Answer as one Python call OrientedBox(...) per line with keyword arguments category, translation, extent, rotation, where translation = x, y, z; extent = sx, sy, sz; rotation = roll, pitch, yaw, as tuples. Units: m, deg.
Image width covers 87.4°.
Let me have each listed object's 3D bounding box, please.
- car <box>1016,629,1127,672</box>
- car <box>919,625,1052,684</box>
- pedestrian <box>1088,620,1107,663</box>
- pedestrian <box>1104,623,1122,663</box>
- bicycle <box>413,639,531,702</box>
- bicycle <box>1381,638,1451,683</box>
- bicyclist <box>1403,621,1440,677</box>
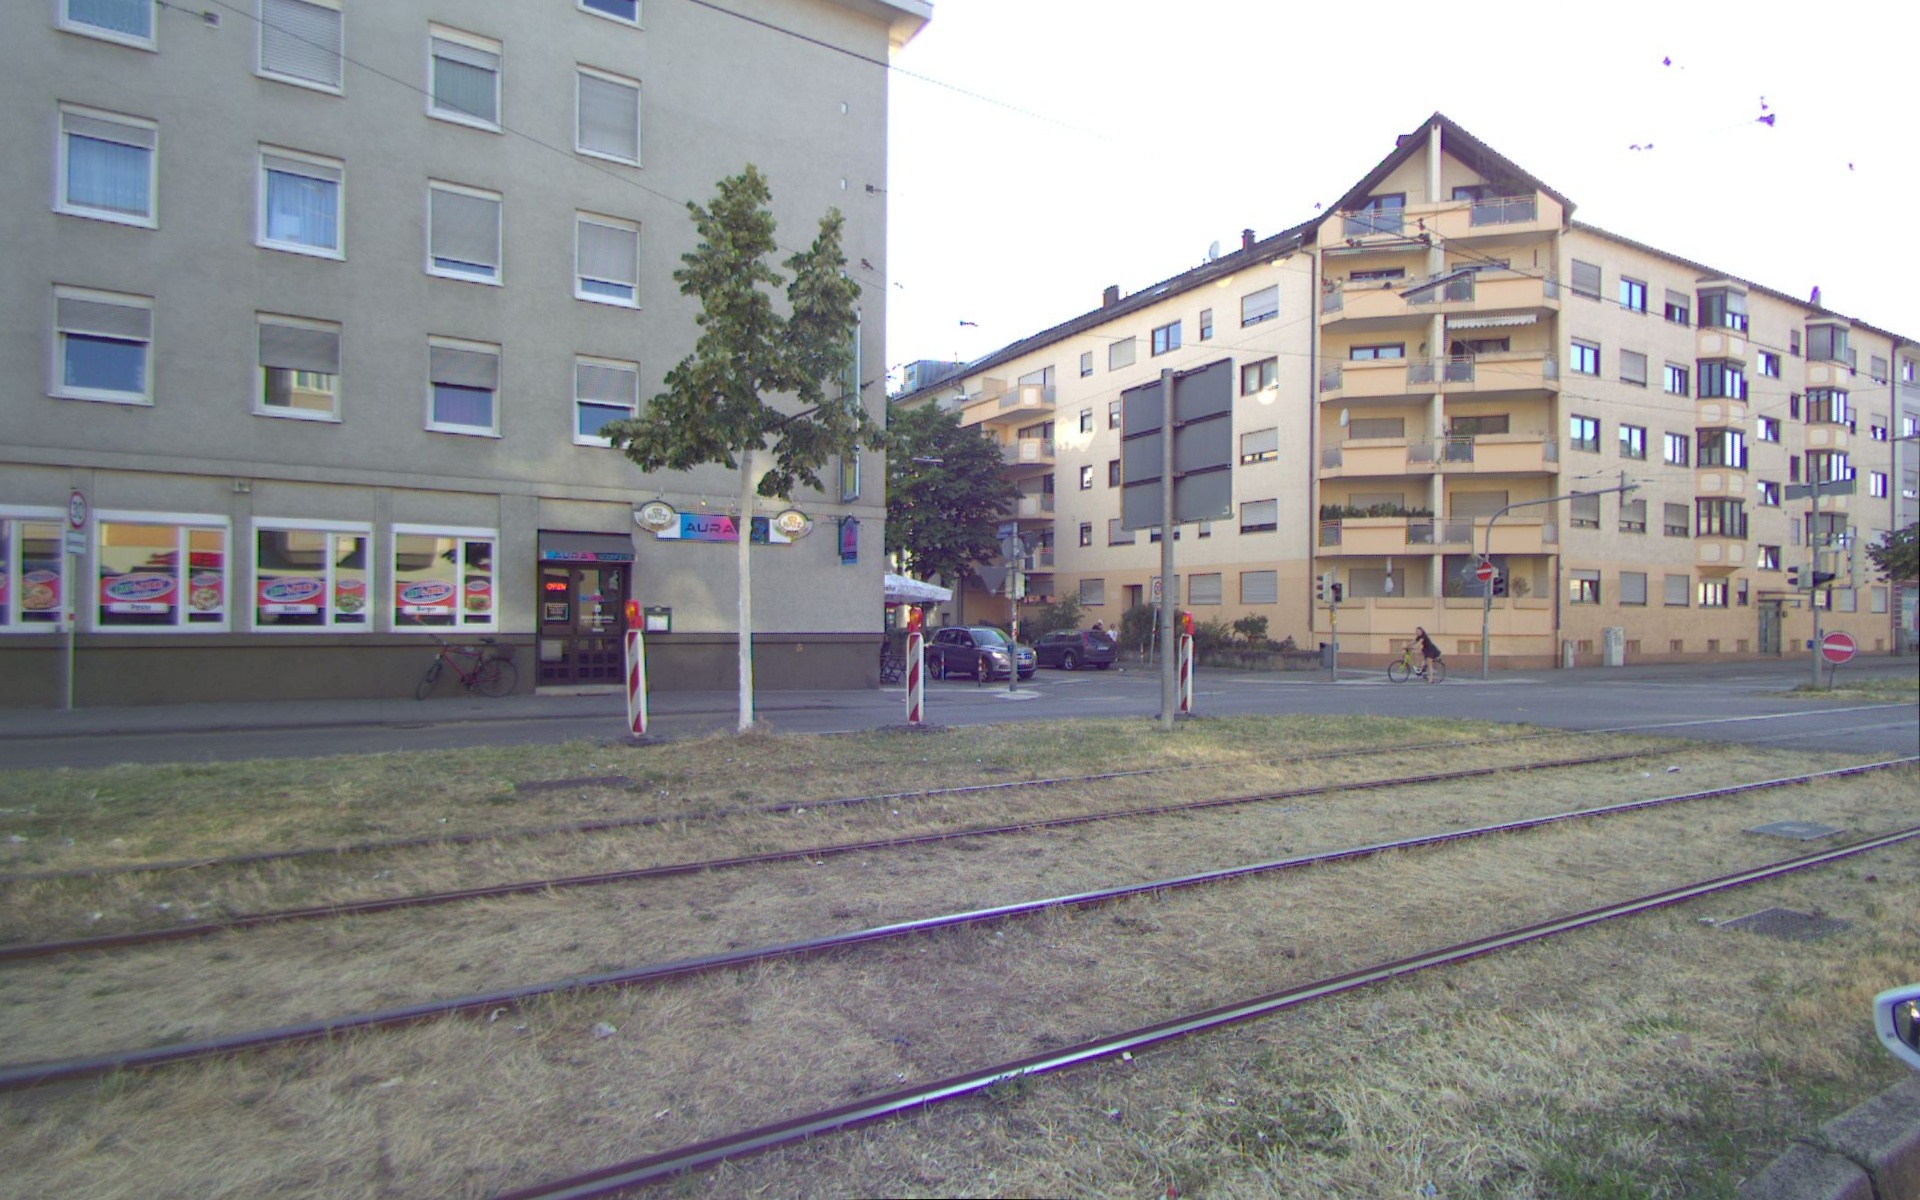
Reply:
OrientedBox(category="car", translation=(4.128, 1.836, 37.687), extent=(1.982, 1.461, 3.957), rotation=(0, -1, -38))
OrientedBox(category="car", translation=(0.719, 1.630, 31.413), extent=(1.982, 1.645, 4.153), rotation=(-1, 0, -38))
OrientedBox(category="pedestrian", translation=(5.539, 1.669, 40.538), extent=(0.456, 1.727, 0.589), rotation=(2, 0, -24))
OrientedBox(category="pedestrian", translation=(6.197, 1.745, 40.614), extent=(0.508, 1.573, 0.547), rotation=(-1, 1, -24))
OrientedBox(category="bicycle", translation=(-8.602, 1.236, 17.735), extent=(1.823, 1.037, 0.605), rotation=(2, 0, -31))
OrientedBox(category="bicycle", translation=(13.294, 1.754, 29.294), extent=(1.833, 1.274, 0.457), rotation=(0, 0, 3))
OrientedBox(category="bicyclist", translation=(13.453, 1.427, 29.302), extent=(0.793, 1.607, 0.628), rotation=(0, 0, 4))
